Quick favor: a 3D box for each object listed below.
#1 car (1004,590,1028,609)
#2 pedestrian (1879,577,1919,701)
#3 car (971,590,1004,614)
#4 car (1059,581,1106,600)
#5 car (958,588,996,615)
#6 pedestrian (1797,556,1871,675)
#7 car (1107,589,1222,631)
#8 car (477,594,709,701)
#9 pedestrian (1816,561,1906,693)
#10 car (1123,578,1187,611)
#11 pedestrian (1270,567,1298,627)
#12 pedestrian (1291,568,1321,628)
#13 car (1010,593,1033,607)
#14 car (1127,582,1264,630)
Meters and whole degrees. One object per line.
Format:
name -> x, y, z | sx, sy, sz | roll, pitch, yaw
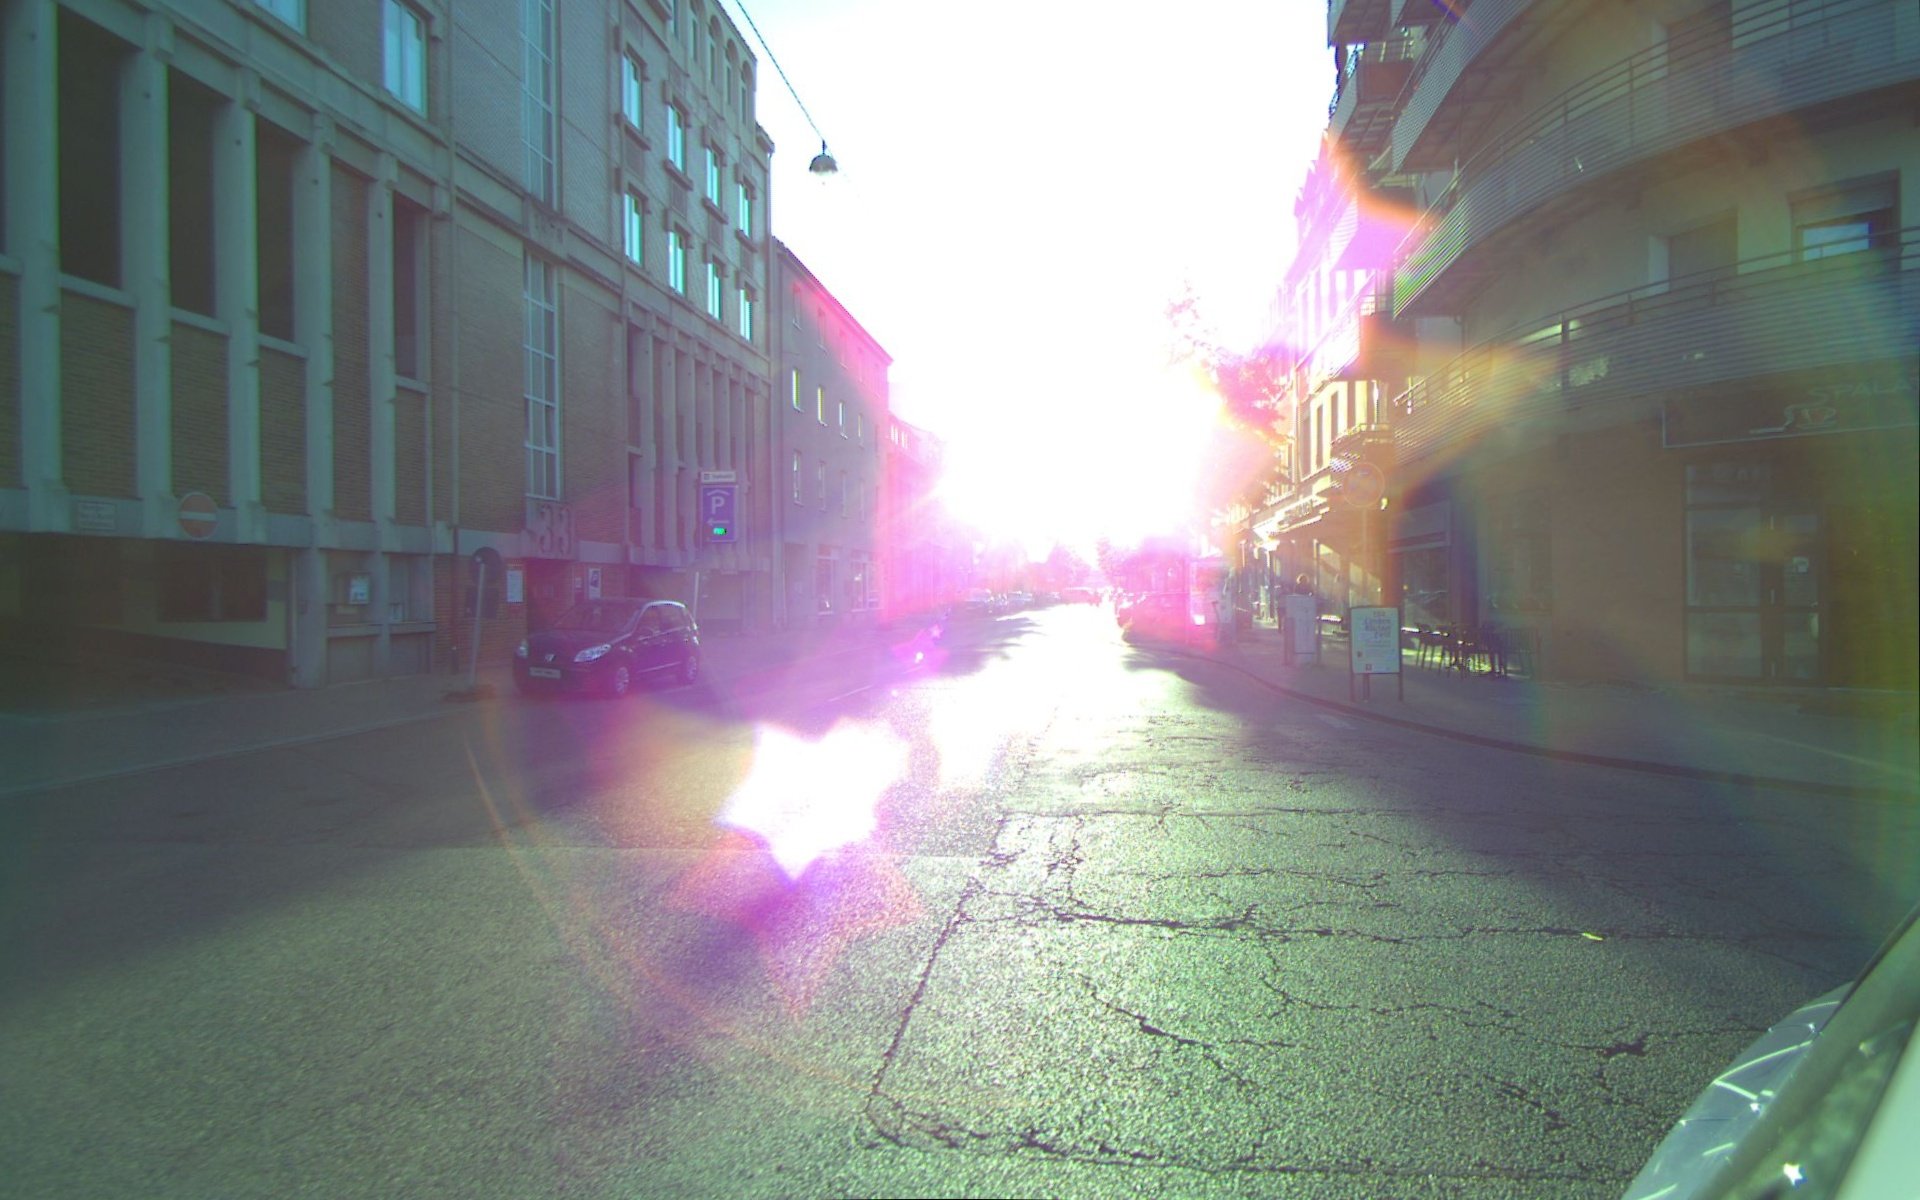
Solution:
car -> 4.882, -0.069, 87.681 | 1.727, 1.571, 4.278 | -1, 0, 7
pedestrian -> 14.110, 0.559, 14.918 | 0.605, 1.799, 0.613 | 0, -1, -23
car -> 1.954, 0.125, 70.561 | 1.966, 1.571, 3.992 | -1, 0, 7
car -> 13.699, -1.054, 113.098 | 4.805, 2.039, 1.980 | -1, 0, 29
car -> 1.083, 0.080, 63.324 | 1.966, 1.571, 3.992 | -1, 0, 7
pedestrian -> 13.589, 0.229, 15.747 | 0.605, 1.799, 0.613 | -1, -1, -17
car -> 7.494, 0.354, 37.360 | 3.929, 1.438, 1.997 | -1, 0, 5
car -> -5.902, 0.687, 16.843 | 1.967, 1.539, 3.989 | 0, 0, 9
pedestrian -> 14.324, 0.409, 16.101 | 0.656, 2.039, 0.816 | -1, -1, -16
car -> 12.805, -0.375, 66.733 | 3.930, 2.039, 1.997 | -1, 0, 6
pedestrian -> 10.908, -0.107, 34.078 | 0.717, 1.973, 0.740 | -1, 0, 3
pedestrian -> 11.640, -0.066, 34.063 | 0.717, 1.973, 0.804 | -1, 0, 3
car -> 6.137, -0.030, 100.547 | 1.966, 1.404, 3.992 | 0, 0, 7
car -> 8.020, 0.206, 34.780 | 4.369, 1.561, 1.814 | -1, 0, 8
